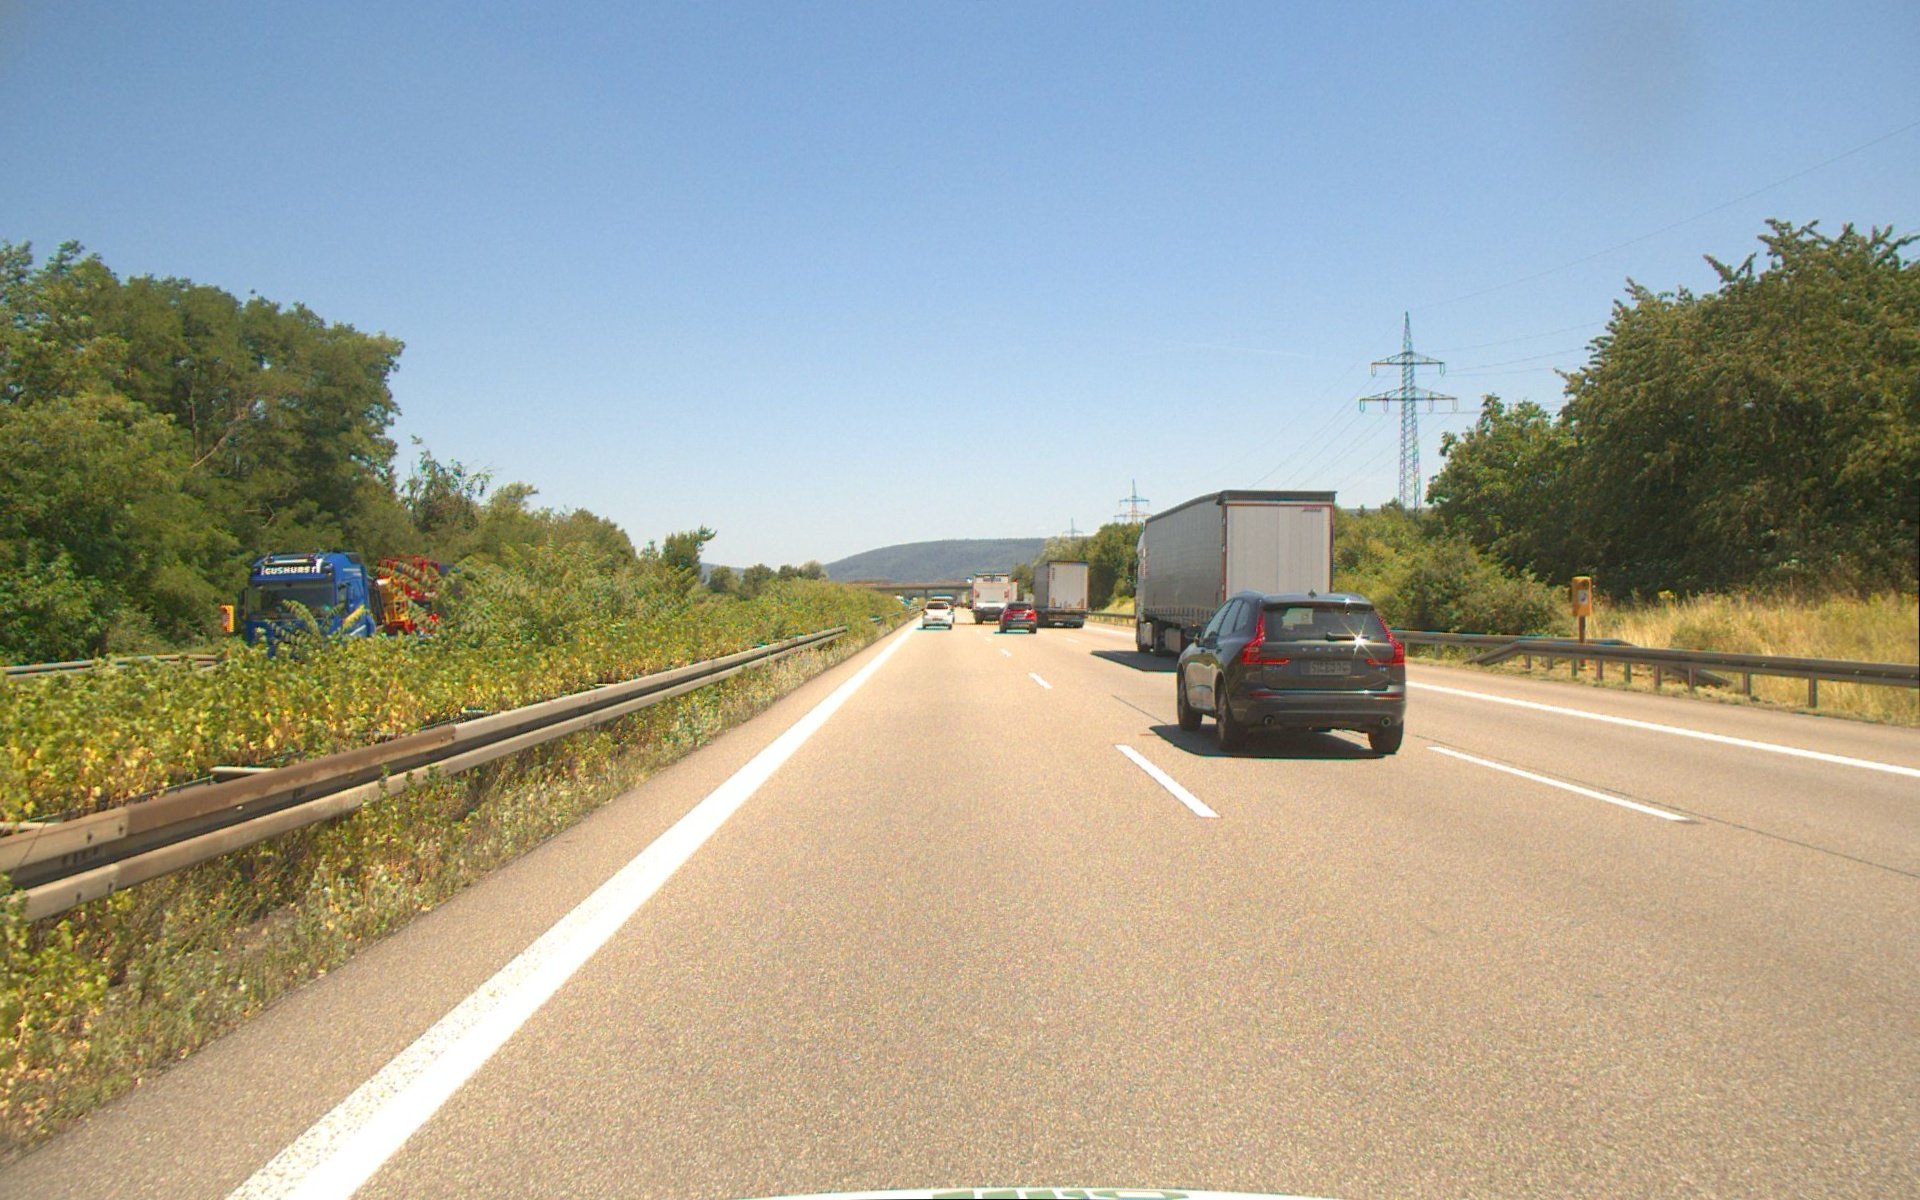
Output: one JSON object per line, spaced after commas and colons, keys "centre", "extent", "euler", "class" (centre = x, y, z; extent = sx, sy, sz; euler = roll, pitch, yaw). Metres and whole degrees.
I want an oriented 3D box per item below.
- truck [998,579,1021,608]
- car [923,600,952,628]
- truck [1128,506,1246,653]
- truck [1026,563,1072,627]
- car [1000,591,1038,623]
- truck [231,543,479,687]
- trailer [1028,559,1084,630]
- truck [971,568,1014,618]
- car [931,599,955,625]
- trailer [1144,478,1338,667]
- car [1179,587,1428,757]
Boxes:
{"centre": [5.753, -0.790, 194.213], "extent": [2.176, 3.265, 10.382], "euler": [-1, 0, -1], "class": "truck"}
{"centre": [-1.263, 0.759, 92.204], "extent": [1.575, 1.493, 3.999], "euler": [0, 0, -1], "class": "car"}
{"centre": [6.852, -0.585, 50.634], "extent": [2.680, 4.192, 6.123], "euler": [0, 0, -1], "class": "truck"}
{"centre": [6.054, -0.303, 113.566], "extent": [2.738, 4.237, 5.722], "euler": [-1, 0, 0], "class": "truck"}
{"centre": [2.941, 0.334, 83.048], "extent": [1.766, 1.572, 3.999], "euler": [0, 0, -1], "class": "car"}
{"centre": [-16.890, 0.391, 47.383], "extent": [2.731, 3.492, 11.978], "euler": [-2, 0, -1], "class": "truck"}
{"centre": [6.095, -0.321, 106.995], "extent": [2.732, 4.237, 13.572], "euler": [-1, 0, 0], "class": "trailer"}
{"centre": [2.259, -0.440, 117.425], "extent": [2.726, 3.432, 8.125], "euler": [0, 0, -1], "class": "truck"}
{"centre": [-1.274, 0.858, 123.122], "extent": [1.725, 1.883, 3.999], "euler": [0, 0, -1], "class": "car"}
{"centre": [6.951, -0.593, 43.153], "extent": [2.680, 4.178, 13.119], "euler": [0, 0, -1], "class": "trailer"}
{"centre": [3.627, 0.705, 18.171], "extent": [1.835, 1.652, 4.003], "euler": [0, 0, -1], "class": "car"}
